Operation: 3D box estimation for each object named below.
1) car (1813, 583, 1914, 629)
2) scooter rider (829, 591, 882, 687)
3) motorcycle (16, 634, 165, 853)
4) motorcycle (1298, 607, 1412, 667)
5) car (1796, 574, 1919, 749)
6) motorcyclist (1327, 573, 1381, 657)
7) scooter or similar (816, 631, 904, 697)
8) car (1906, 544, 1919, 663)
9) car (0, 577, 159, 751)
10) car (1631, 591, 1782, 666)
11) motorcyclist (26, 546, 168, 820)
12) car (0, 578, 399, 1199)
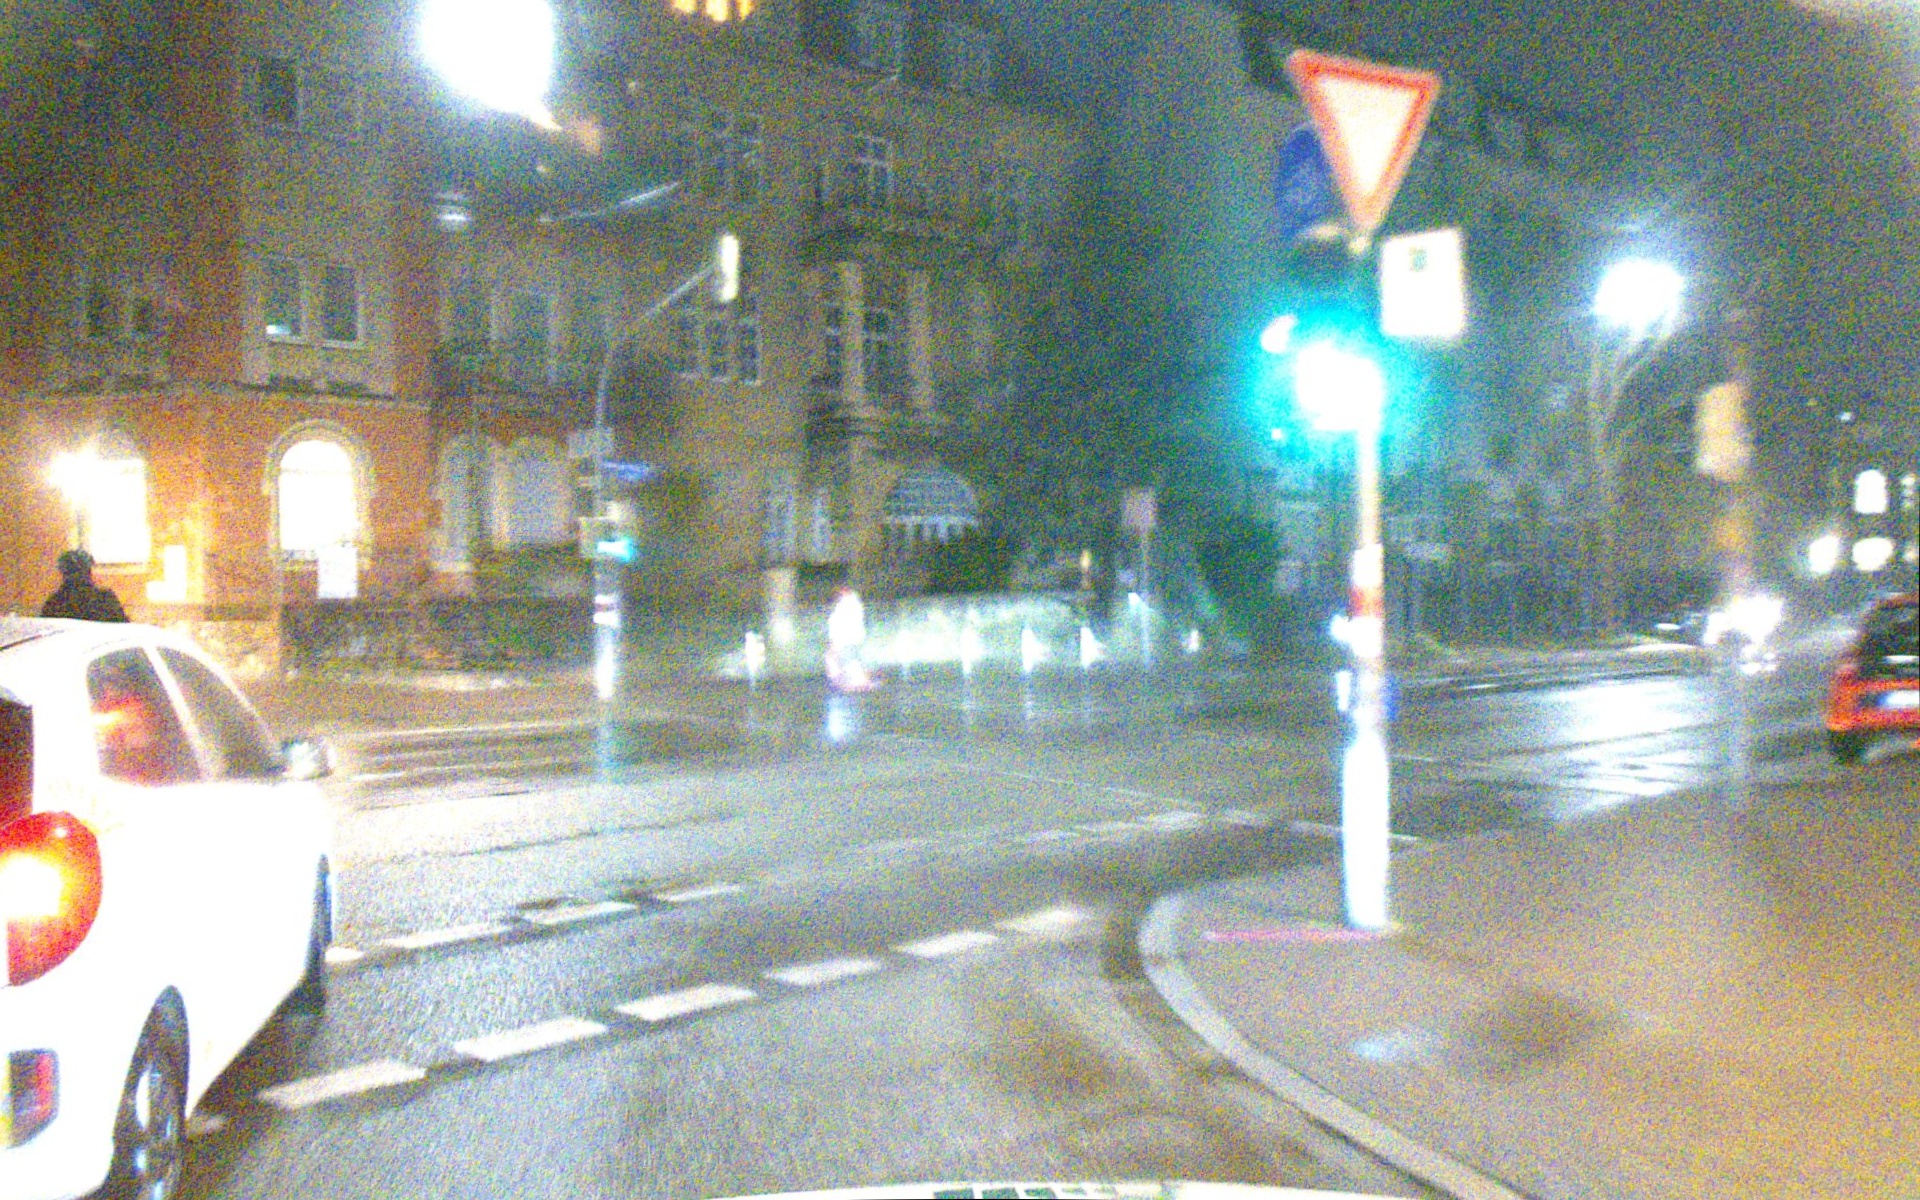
[{"bbox_3d":[30.332,0.176,55.469,4.107,1.431,1.744,-1,3,-43],"label":"car"},{"bbox_3d":[-1.788,0.654,28.269,0.643,1.600,0.636,1,1,-30],"label":"scooter rider"},{"bbox_3d":[-5.749,0.880,11.024,0.780,1.234,2.231,1,0,-26],"label":"motorcycle"},{"bbox_3d":[8.517,0.802,35.735,2.269,1.252,0.710,-1,-2,4],"label":"motorcycle"},{"bbox_3d":[9.733,0.535,16.056,3.550,1.551,1.627,-1,-3,-42],"label":"car"},{"bbox_3d":[8.510,0.331,35.753,1.003,1.761,0.710,-1,-2,4],"label":"motorcyclist"},{"bbox_3d":[-1.703,1.086,28.326,1.350,1.070,0.636,1,1,-30],"label":"scooter or similar"},{"bbox_3d":[22.601,0.060,35.805,5.339,2.484,2.190,-1,1,-43],"label":"car"},{"bbox_3d":[-10.121,0.640,18.763,1.728,1.770,3.765,1,0,-28],"label":"car"},{"bbox_3d":[21.613,0.762,47.770,5.263,1.857,1.970,-2,4,-42],"label":"car"},{"bbox_3d":[-5.698,0.523,10.957,0.780,1.724,0.813,1,0,-27],"label":"motorcyclist"},{"bbox_3d":[-2.841,0.730,4.781,1.885,1.542,3.587,0,1,-12],"label":"car"}]
